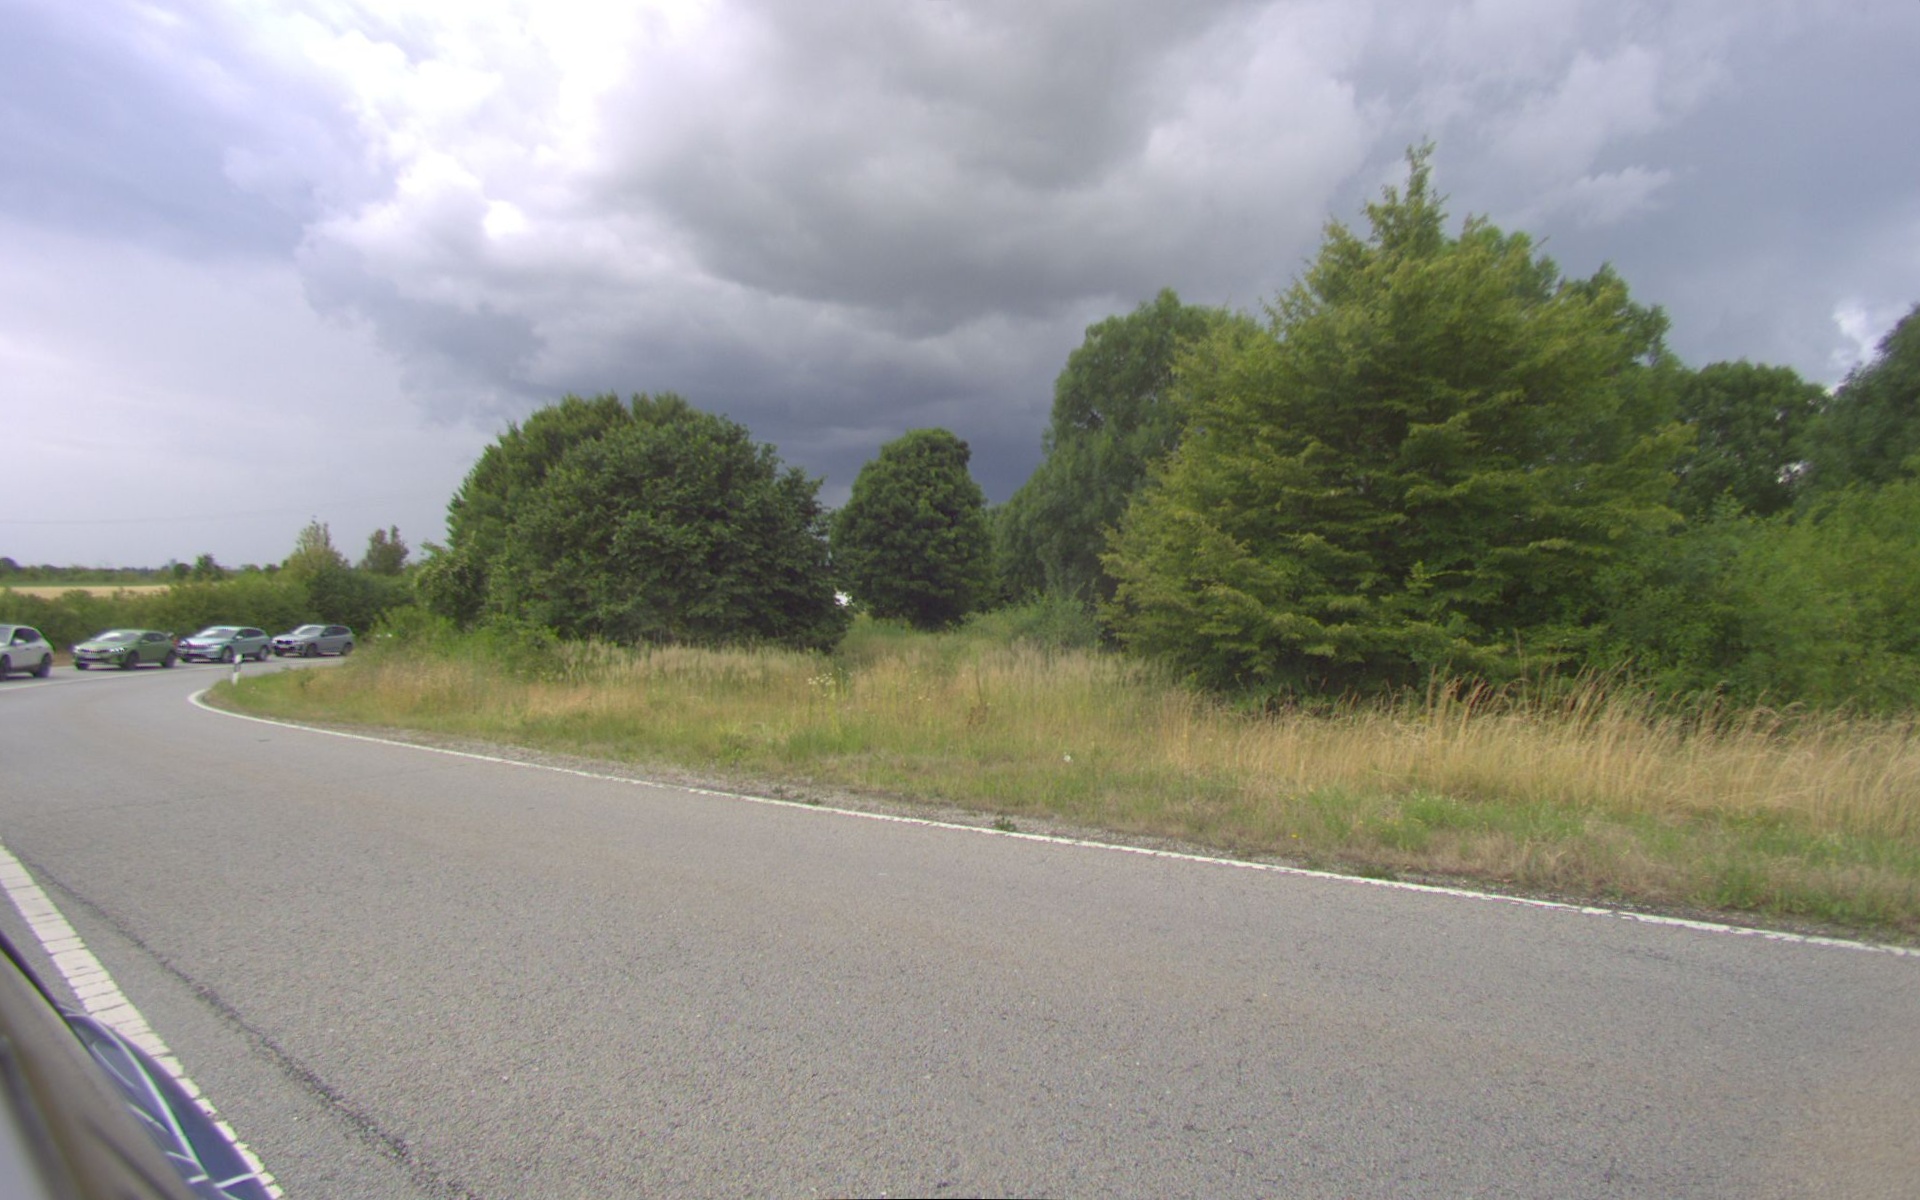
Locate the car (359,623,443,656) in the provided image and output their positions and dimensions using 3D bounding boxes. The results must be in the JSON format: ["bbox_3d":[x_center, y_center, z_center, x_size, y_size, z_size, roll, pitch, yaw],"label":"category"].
[{"bbox_3d":[-34.267,2.393,62.186,1.974,1.732,5.202,2,0,4],"label":"car"}]

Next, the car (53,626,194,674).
[{"bbox_3d":[-32.648,1.936,39.728,1.967,1.733,5.220,2,-2,-12],"label":"car"}]

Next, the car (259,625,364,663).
[{"bbox_3d":[-34.442,2.280,53.967,1.974,1.732,5.202,2,0,4],"label":"car"}]

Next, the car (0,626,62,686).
[{"bbox_3d":[-30.014,1.679,31.179,1.965,1.733,5.225,2,-3,-24],"label":"car"}]

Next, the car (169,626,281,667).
[{"bbox_3d":[-33.970,2.128,46.968,1.968,1.733,5.217,2,-2,-8],"label":"car"}]
